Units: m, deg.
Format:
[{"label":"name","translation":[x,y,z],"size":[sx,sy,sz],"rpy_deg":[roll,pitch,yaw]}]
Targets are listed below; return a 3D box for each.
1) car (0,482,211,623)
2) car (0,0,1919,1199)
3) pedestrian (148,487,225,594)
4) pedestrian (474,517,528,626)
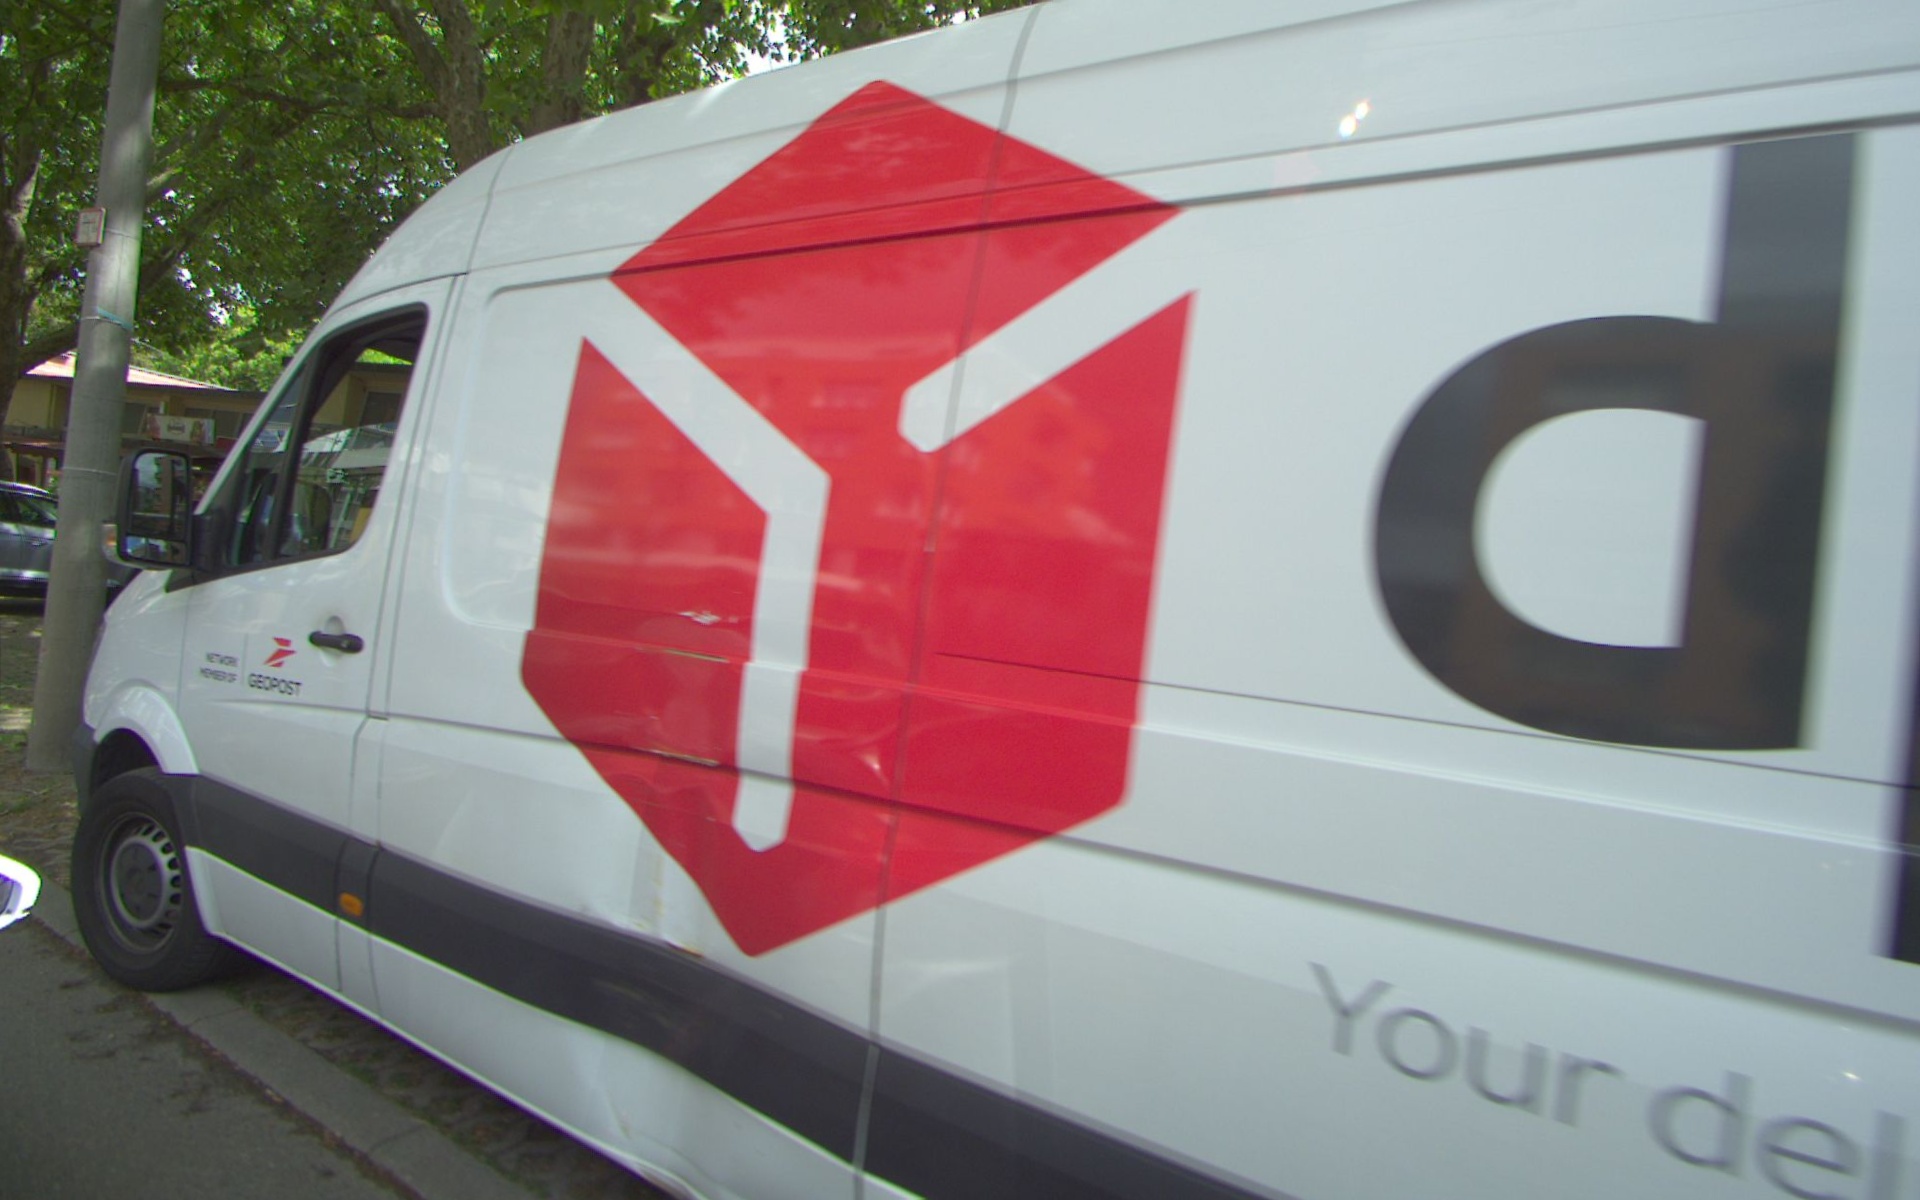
[{"label":"car","translation":[-11.744,-0.640,12.257],"size":[1.591,1.582,3.838],"rpy_deg":[7,0,25]},{"label":"car","translation":[-0.111,0.154,2.688],"size":[6.720,2.614,1.905],"rpy_deg":[7,2,32]},{"label":"pedestrian","translation":[-13.472,-1.020,17.525],"size":[0.647,1.747,0.760],"rpy_deg":[7,2,27]},{"label":"pedestrian","translation":[-7.522,-0.461,16.501],"size":[0.366,1.726,0.545],"rpy_deg":[7,1,25]}]
